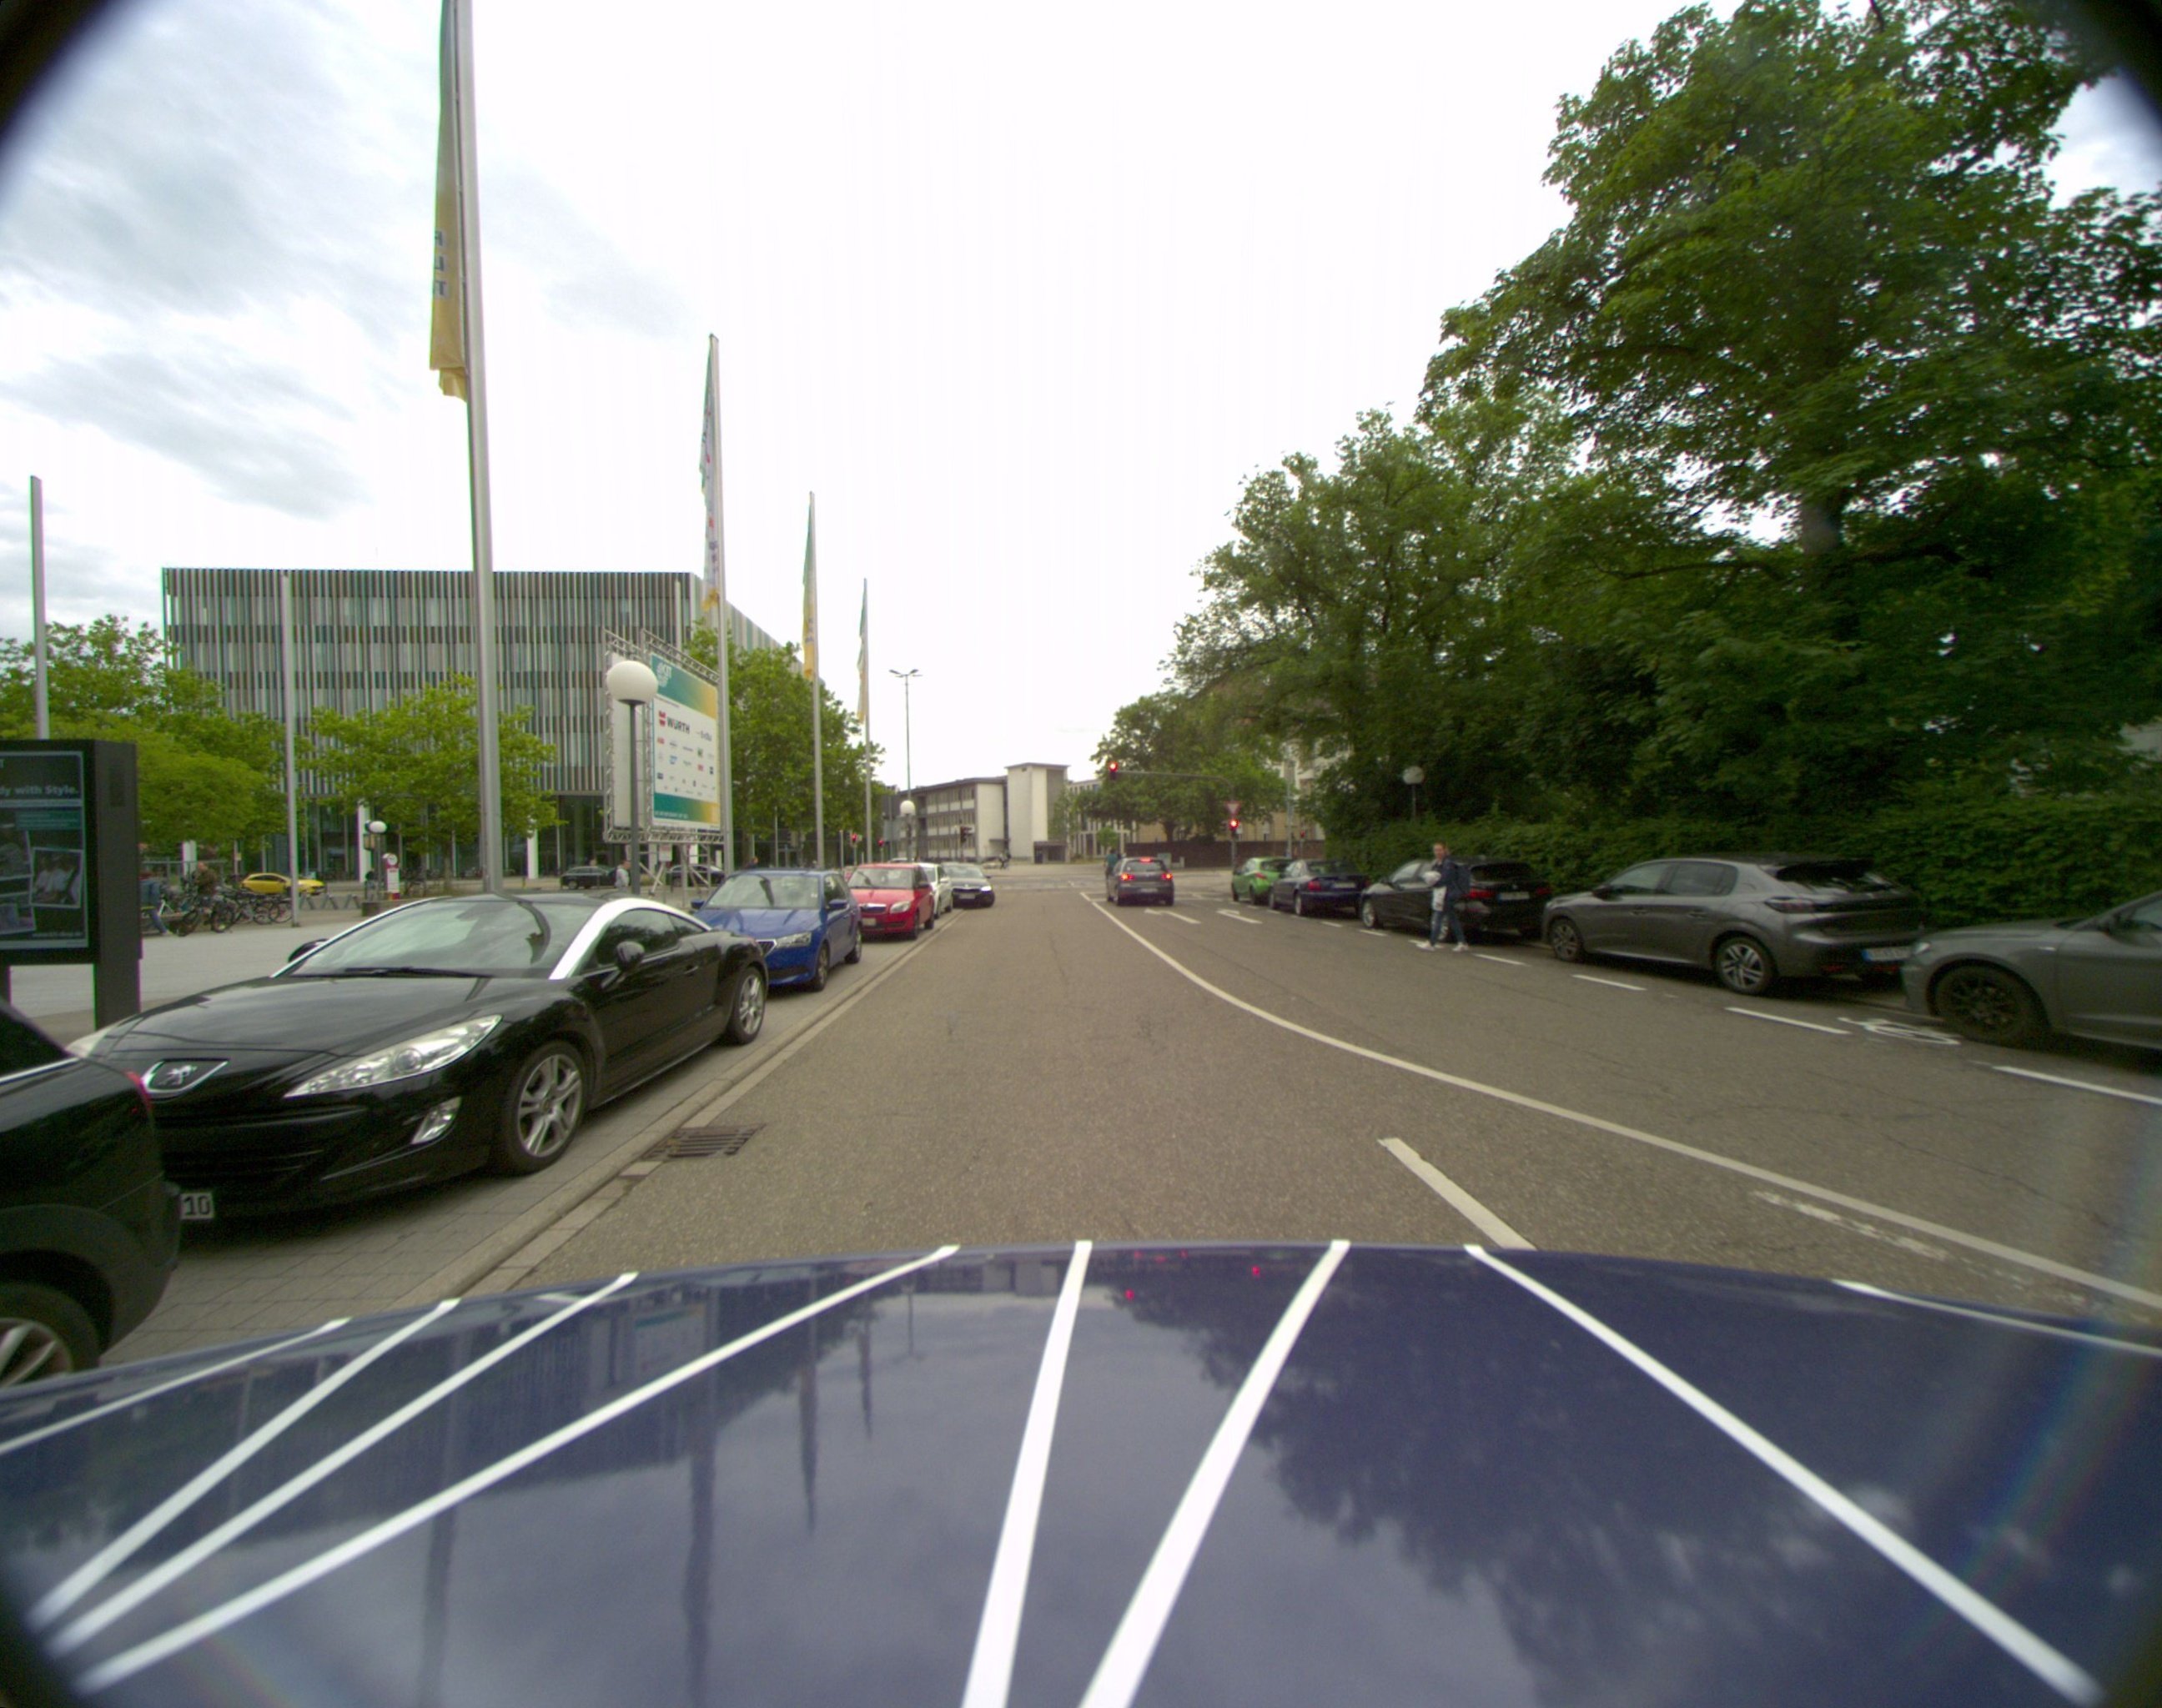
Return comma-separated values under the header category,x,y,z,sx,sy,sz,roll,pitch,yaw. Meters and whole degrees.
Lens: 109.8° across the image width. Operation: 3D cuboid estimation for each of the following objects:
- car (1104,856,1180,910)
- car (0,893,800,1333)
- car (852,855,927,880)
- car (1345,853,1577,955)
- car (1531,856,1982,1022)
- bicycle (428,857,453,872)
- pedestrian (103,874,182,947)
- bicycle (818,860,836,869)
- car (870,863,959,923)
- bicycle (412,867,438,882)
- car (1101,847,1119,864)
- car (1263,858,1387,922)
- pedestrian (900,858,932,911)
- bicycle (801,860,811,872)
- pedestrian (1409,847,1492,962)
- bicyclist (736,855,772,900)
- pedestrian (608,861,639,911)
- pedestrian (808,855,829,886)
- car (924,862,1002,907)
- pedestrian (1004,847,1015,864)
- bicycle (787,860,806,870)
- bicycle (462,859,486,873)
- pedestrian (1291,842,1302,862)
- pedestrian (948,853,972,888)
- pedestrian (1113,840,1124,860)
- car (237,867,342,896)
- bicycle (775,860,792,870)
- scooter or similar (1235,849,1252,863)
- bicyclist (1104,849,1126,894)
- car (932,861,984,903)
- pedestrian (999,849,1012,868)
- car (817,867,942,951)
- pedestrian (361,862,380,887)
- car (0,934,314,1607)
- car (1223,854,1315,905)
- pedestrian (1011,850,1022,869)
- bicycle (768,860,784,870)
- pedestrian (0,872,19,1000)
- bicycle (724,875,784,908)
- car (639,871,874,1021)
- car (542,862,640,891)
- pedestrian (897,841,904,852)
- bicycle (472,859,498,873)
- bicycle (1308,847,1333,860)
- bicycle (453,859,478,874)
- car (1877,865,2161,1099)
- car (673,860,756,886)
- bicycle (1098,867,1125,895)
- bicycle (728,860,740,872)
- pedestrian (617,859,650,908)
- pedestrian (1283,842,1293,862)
category,x,y,z,sx,sy,sz,roll,pitch,yaw
car,1.830,0.841,24.058,1.788,1.488,4.166,-1,1,-4
car,-3.535,1.066,5.008,1.853,1.433,4.418,-2,-1,-2
car,-14.772,1.053,58.747,5.373,1.687,2.047,-2,-2,-8
car,6.744,0.791,14.146,1.803,1.551,4.529,-1,0,-4
car,7.385,0.786,8.922,1.767,1.463,3.823,-1,1,-4
bicycle,-58.185,0.970,69.071,0.628,1.251,2.104,-2,-2,-5
pedestrian,-23.152,1.369,18.771,0.853,1.694,0.967,-1,0,-22
bicycle,-26.290,1.076,78.676,2.004,0.931,0.485,0,2,28
car,-4.605,1.039,21.560,1.866,1.444,3.857,-1,0,-4
bicycle,-59.227,1.846,68.637,0.628,1.251,2.103,-1,0,-5
car,4.000,0.170,104.727,1.998,1.570,4.410,-9,-7,5
car,6.110,0.837,19.578,1.802,1.400,4.336,-1,1,0
pedestrian,-5.635,1.040,26.022,0.792,1.777,0.822,-1,1,8
bicycle,-25.078,1.045,69.189,0.485,1.039,1.779,-2,2,-32
pedestrian,5.506,0.728,11.372,0.740,1.652,0.968,-1,0,0
bicyclist,-12.131,0.870,28.195,0.874,1.631,0.870,-1,0,39
pedestrian,-16.329,1.166,27.142,0.657,1.704,0.586,-6,-4,-1
pedestrian,-14.082,0.876,40.754,0.757,1.617,0.794,-3,-1,8
car,-4.172,0.993,26.261,1.868,1.393,4.471,1,0,-19
pedestrian,-7.392,0.148,78.240,0.950,1.705,0.906,-1,1,4
bicycle,-28.393,1.085,75.820,2.004,0.931,0.485,0,2,28
bicycle,-55.407,1.125,69.329,0.628,1.251,2.104,-2,-2,-5
pedestrian,18.818,-0.172,66.274,0.642,1.684,0.778,-2,2,-9
pedestrian,-5.788,0.773,36.306,1.044,1.610,0.657,-1,1,-6
pedestrian,3.323,-0.374,67.043,0.809,1.654,0.791,-3,-2,-6
car,-49.453,1.725,47.548,4.193,1.608,1.999,-1,1,-6
bicycle,-29.495,1.111,75.319,2.004,0.931,0.549,0,2,36
scooter or similar,14.658,0.220,68.560,1.410,1.223,0.495,0,3,15
bicyclist,1.357,0.683,30.565,0.659,1.769,0.983,-1,1,-11
car,-4.990,1.097,31.305,1.626,1.493,4.103,1,1,-3
pedestrian,-6.963,0.413,70.129,0.892,1.778,0.848,0,1,44
car,-4.054,1.039,15.989,1.717,1.464,4.272,1,0,-4
pedestrian,-52.298,1.509,55.902,0.588,1.799,0.809,-1,1,1
car,-3.218,0.973,0.129,1.823,1.435,4.518,0,0,-5
car,6.016,0.757,24.801,1.802,1.461,4.247,-1,1,-2
pedestrian,-5.879,0.488,69.152,0.623,1.656,0.619,-2,1,41
bicycle,-29.987,1.114,74.763,2.004,0.931,0.485,0,2,36
pedestrian,-14.875,1.109,10.203,0.780,1.703,0.649,-1,1,34
bicycle,-12.125,1.374,28.195,0.874,1.087,1.805,-2,0,39
car,-3.992,1.014,10.167,1.700,1.403,4.373,-1,1,-7
car,-31.488,1.432,48.924,4.838,1.653,1.999,-2,0,-6
pedestrian,-28.434,-1.229,119.842,0.777,1.779,0.759,-2,1,-31
bicycle,-54.459,1.087,69.479,0.628,1.251,2.105,-3,-2,1
bicycle,21.819,-0.041,69.296,2.156,1.178,0.582,-1,2,-12
bicycle,-56.066,1.152,69.230,0.628,1.251,2.104,-2,-2,-5
car,7.677,0.808,4.391,1.768,1.403,4.007,-2,0,-5
car,-23.575,1.205,49.000,4.290,1.481,1.999,-2,1,-4
bicycle,1.198,1.065,30.276,0.659,1.031,1.855,-1,1,-11
bicycle,-33.076,1.134,72.420,0.485,1.039,1.911,-2,2,-42
pedestrian,-16.508,1.086,28.032,0.673,1.704,0.679,-7,-4,2
pedestrian,18.030,-0.155,66.166,0.670,1.729,0.735,-1,2,-6
